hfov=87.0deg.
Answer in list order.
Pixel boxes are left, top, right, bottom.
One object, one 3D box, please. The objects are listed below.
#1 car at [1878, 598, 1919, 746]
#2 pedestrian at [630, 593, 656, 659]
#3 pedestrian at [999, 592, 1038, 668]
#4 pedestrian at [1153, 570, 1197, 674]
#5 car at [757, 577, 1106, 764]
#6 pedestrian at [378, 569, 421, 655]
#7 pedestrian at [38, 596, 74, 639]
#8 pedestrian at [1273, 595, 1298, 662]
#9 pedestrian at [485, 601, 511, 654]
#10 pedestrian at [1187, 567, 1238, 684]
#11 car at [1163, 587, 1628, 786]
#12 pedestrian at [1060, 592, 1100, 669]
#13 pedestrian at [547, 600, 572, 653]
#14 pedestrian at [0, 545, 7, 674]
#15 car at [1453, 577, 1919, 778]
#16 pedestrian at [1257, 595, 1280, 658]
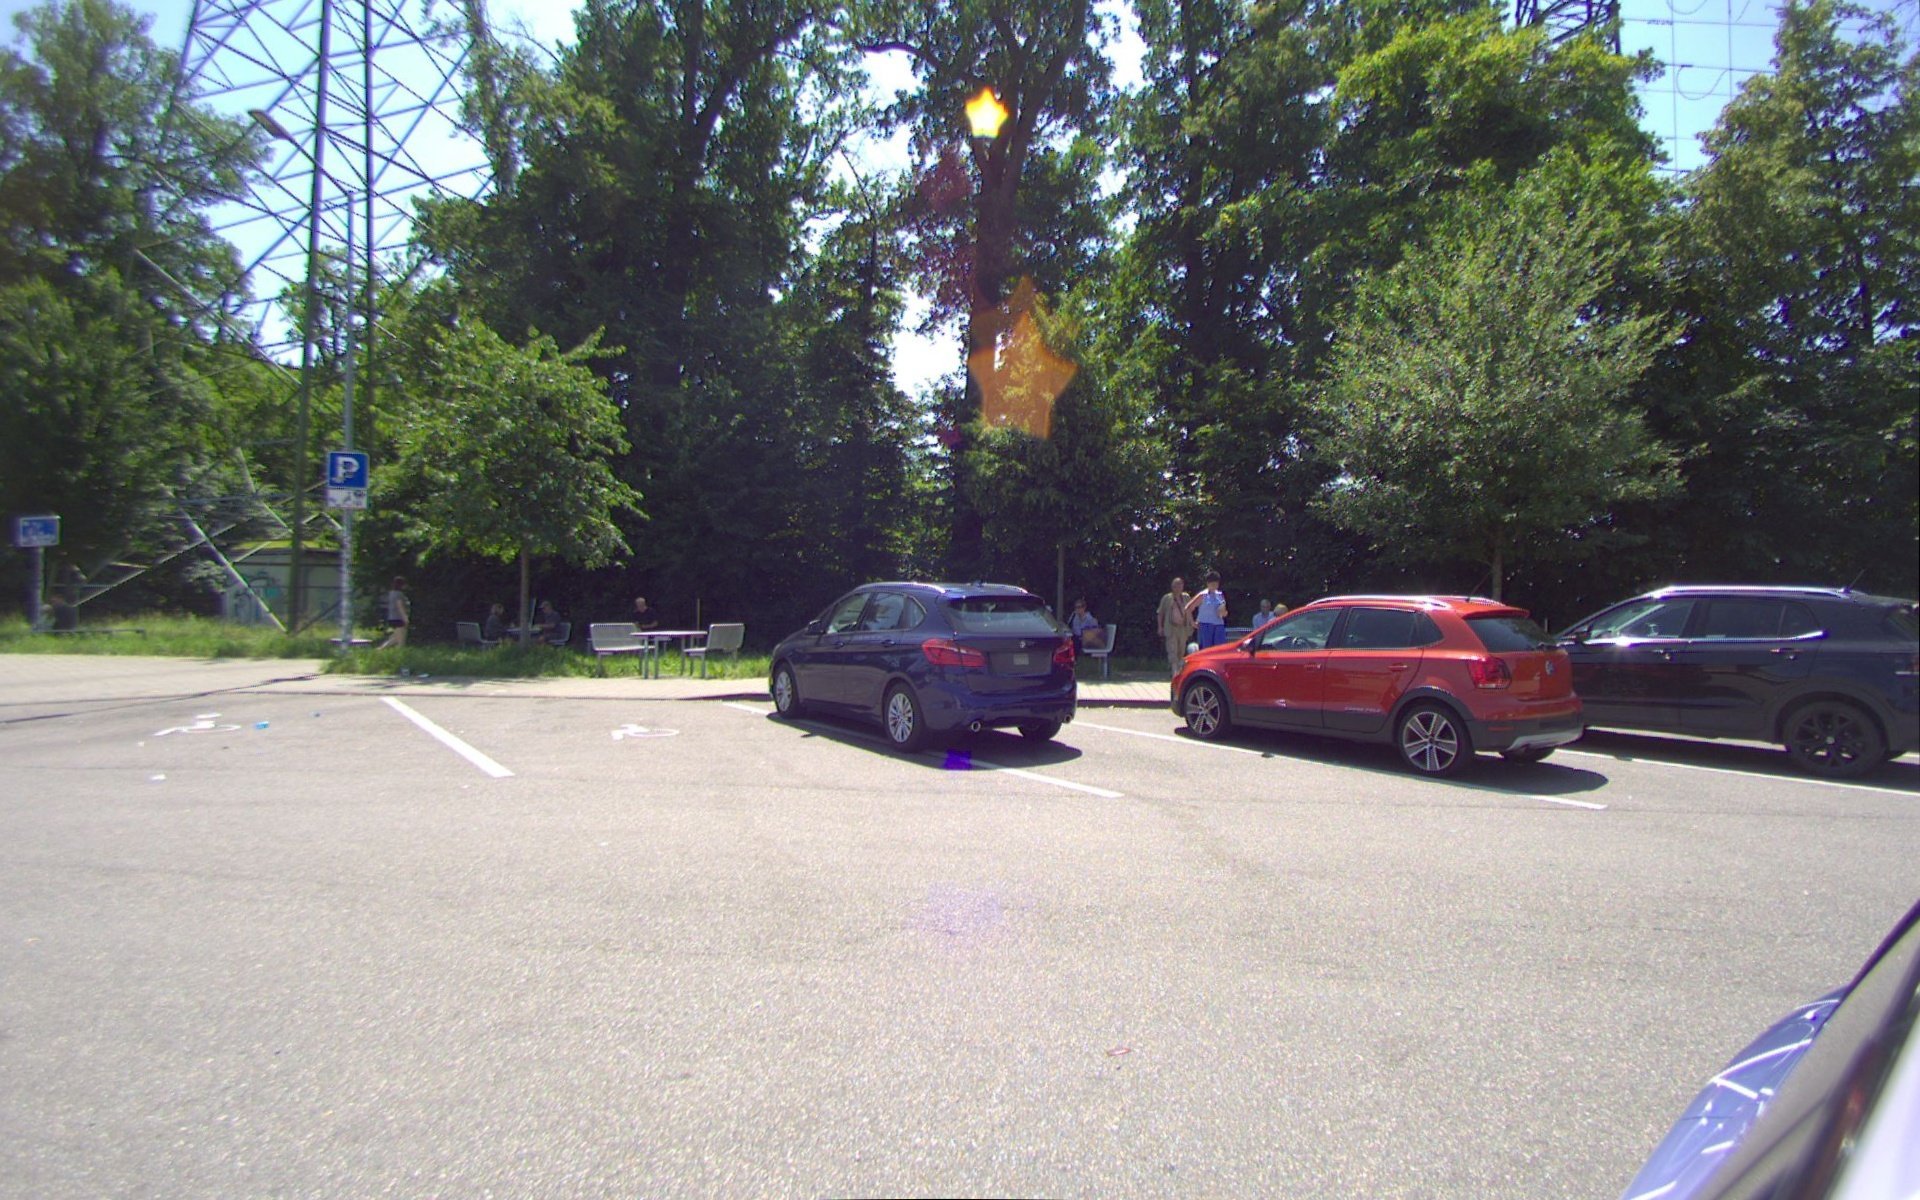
[{"bbox_3d":[10.899,0.703,9.008,1.620,1.420,3.826,0,0,-37],"label":"car"},{"bbox_3d":[-6.684,0.543,21.344,0.438,1.363,0.462,0,0,-5],"label":"pedestrian"},{"bbox_3d":[0.992,0.495,17.110,0.586,1.261,0.445,0,0,16],"label":"pedestrian"},{"bbox_3d":[3.423,0.339,16.143,0.636,1.625,0.571,0,0,7],"label":"pedestrian"},{"bbox_3d":[-0.538,0.549,10.785,1.714,1.572,4.347,0,1,-33],"label":"car"},{"bbox_3d":[-11.136,0.235,20.092,0.701,1.670,0.688,0,0,-33],"label":"pedestrian"},{"bbox_3d":[-20.949,0.392,23.455,0.452,0.987,0.447,0,0,-2],"label":"pedestrian"},{"bbox_3d":[5.773,0.503,17.947,0.350,1.180,0.384,0,0,8],"label":"pedestrian"},{"bbox_3d":[-10.431,0.610,22.855,0.452,1.182,0.447,0,0,-34],"label":"pedestrian"},{"bbox_3d":[3.609,0.355,14.493,0.636,1.625,0.571,0,0,7],"label":"pedestrian"},{"bbox_3d":[3.883,0.633,9.646,1.619,1.487,3.830,0,0,-33],"label":"car"},{"bbox_3d":[2.005,0.492,16.854,0.586,1.261,0.498,0,0,16],"label":"pedestrian"},{"bbox_3d":[-9.343,0.611,23.596,0.452,1.209,0.447,0,0,-34],"label":"pedestrian"},{"bbox_3d":[-14.803,0.149,14.830,0.904,1.929,0.813,0,0,3],"label":"pedestrian"},{"bbox_3d":[7.099,0.592,9.862,1.620,1.575,3.826,0,0,-37],"label":"car"},{"bbox_3d":[5.822,0.491,19.123,0.350,1.180,0.384,0,0,8],"label":"pedestrian"}]
